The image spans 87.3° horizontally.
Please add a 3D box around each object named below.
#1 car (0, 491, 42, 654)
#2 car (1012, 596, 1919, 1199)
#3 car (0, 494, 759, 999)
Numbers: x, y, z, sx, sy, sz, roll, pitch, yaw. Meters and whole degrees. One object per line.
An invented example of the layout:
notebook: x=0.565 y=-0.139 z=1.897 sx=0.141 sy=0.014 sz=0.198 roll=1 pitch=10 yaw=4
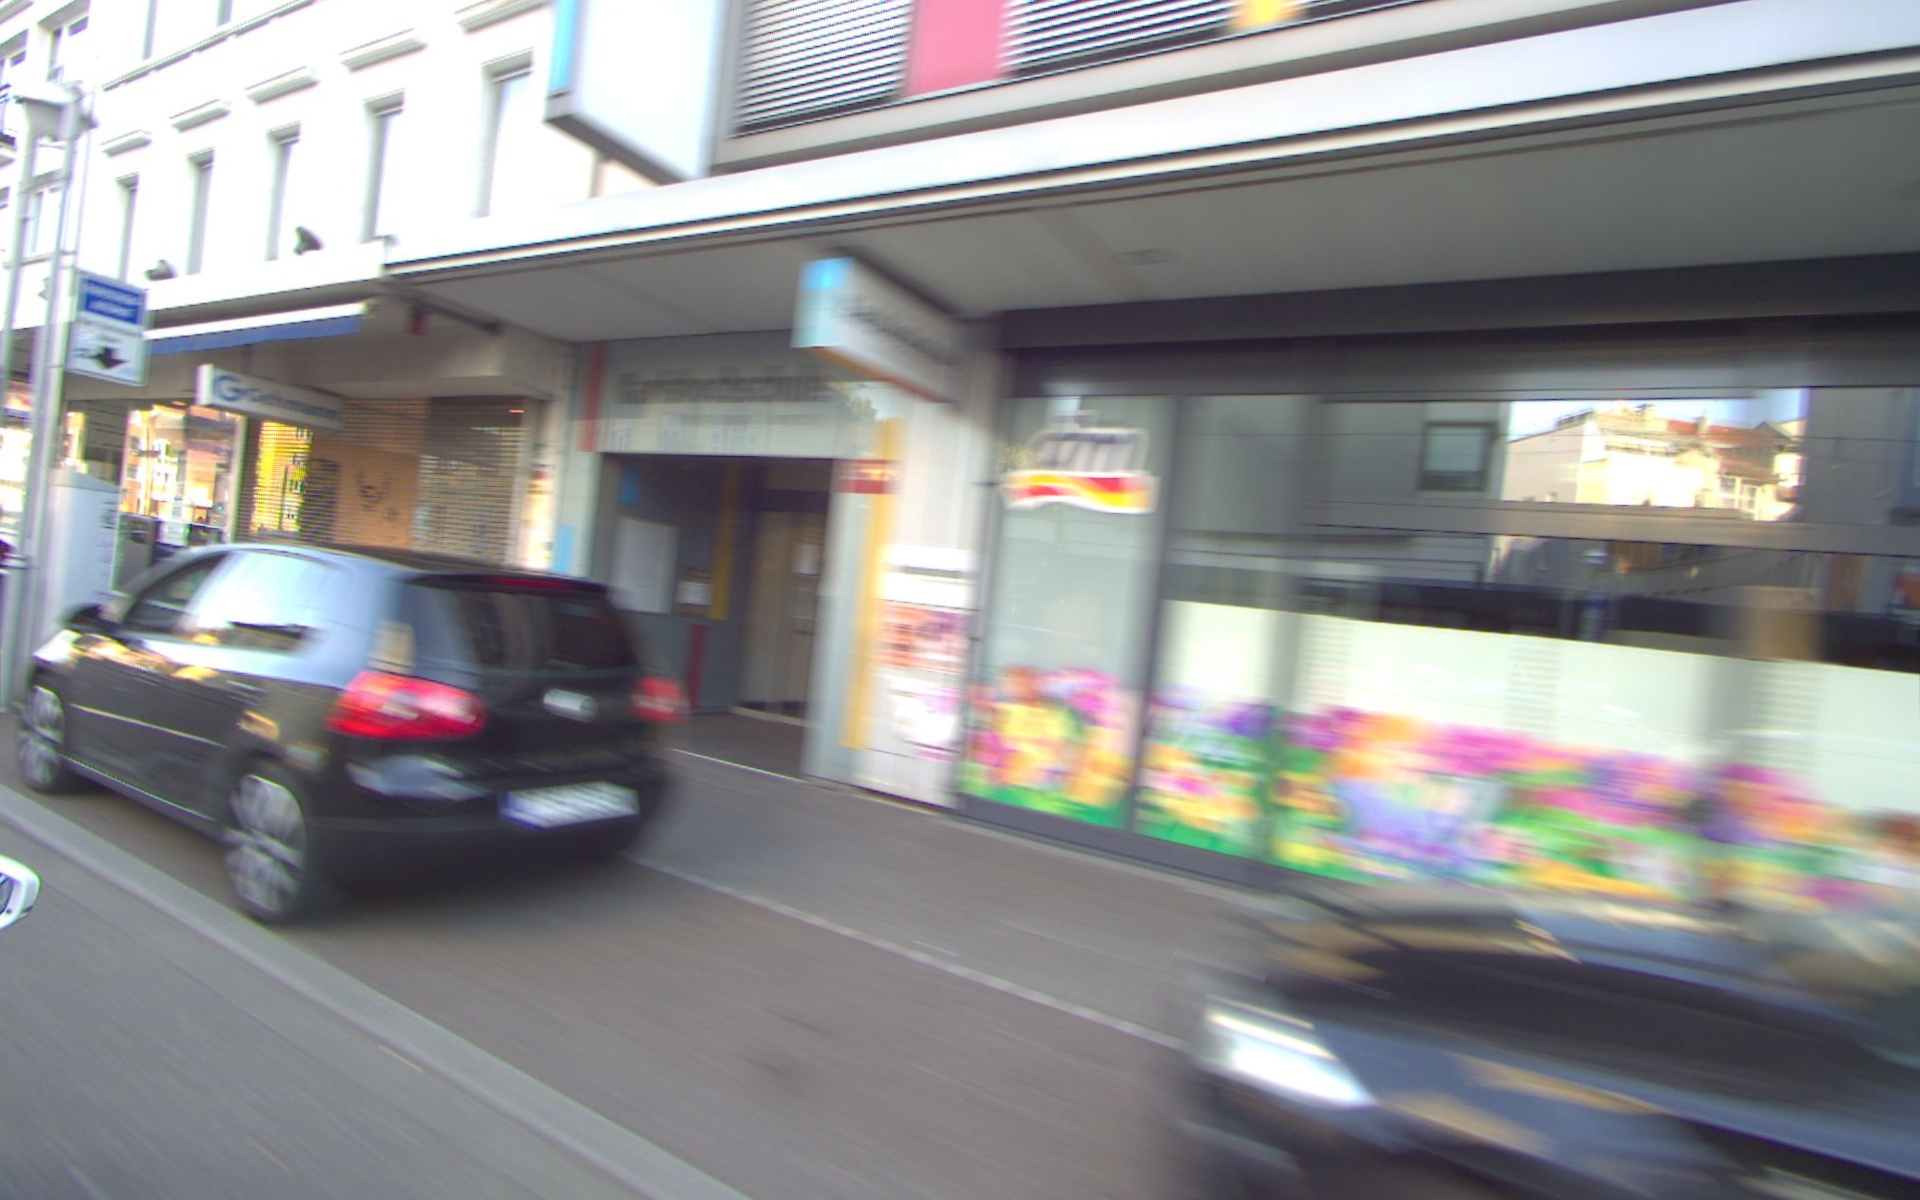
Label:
car: x=-10.983 y=-0.479 z=9.992 sx=3.968 sy=1.531 sz=1.687 roll=7 pitch=1 yaw=32
car: x=2.384 y=1.004 z=1.792 sx=4.187 sy=1.531 sz=1.745 roll=7 pitch=1 yaw=32
car: x=-3.209 y=0.422 z=5.174 sx=4.098 sy=1.531 sz=1.721 roll=7 pitch=1 yaw=32
